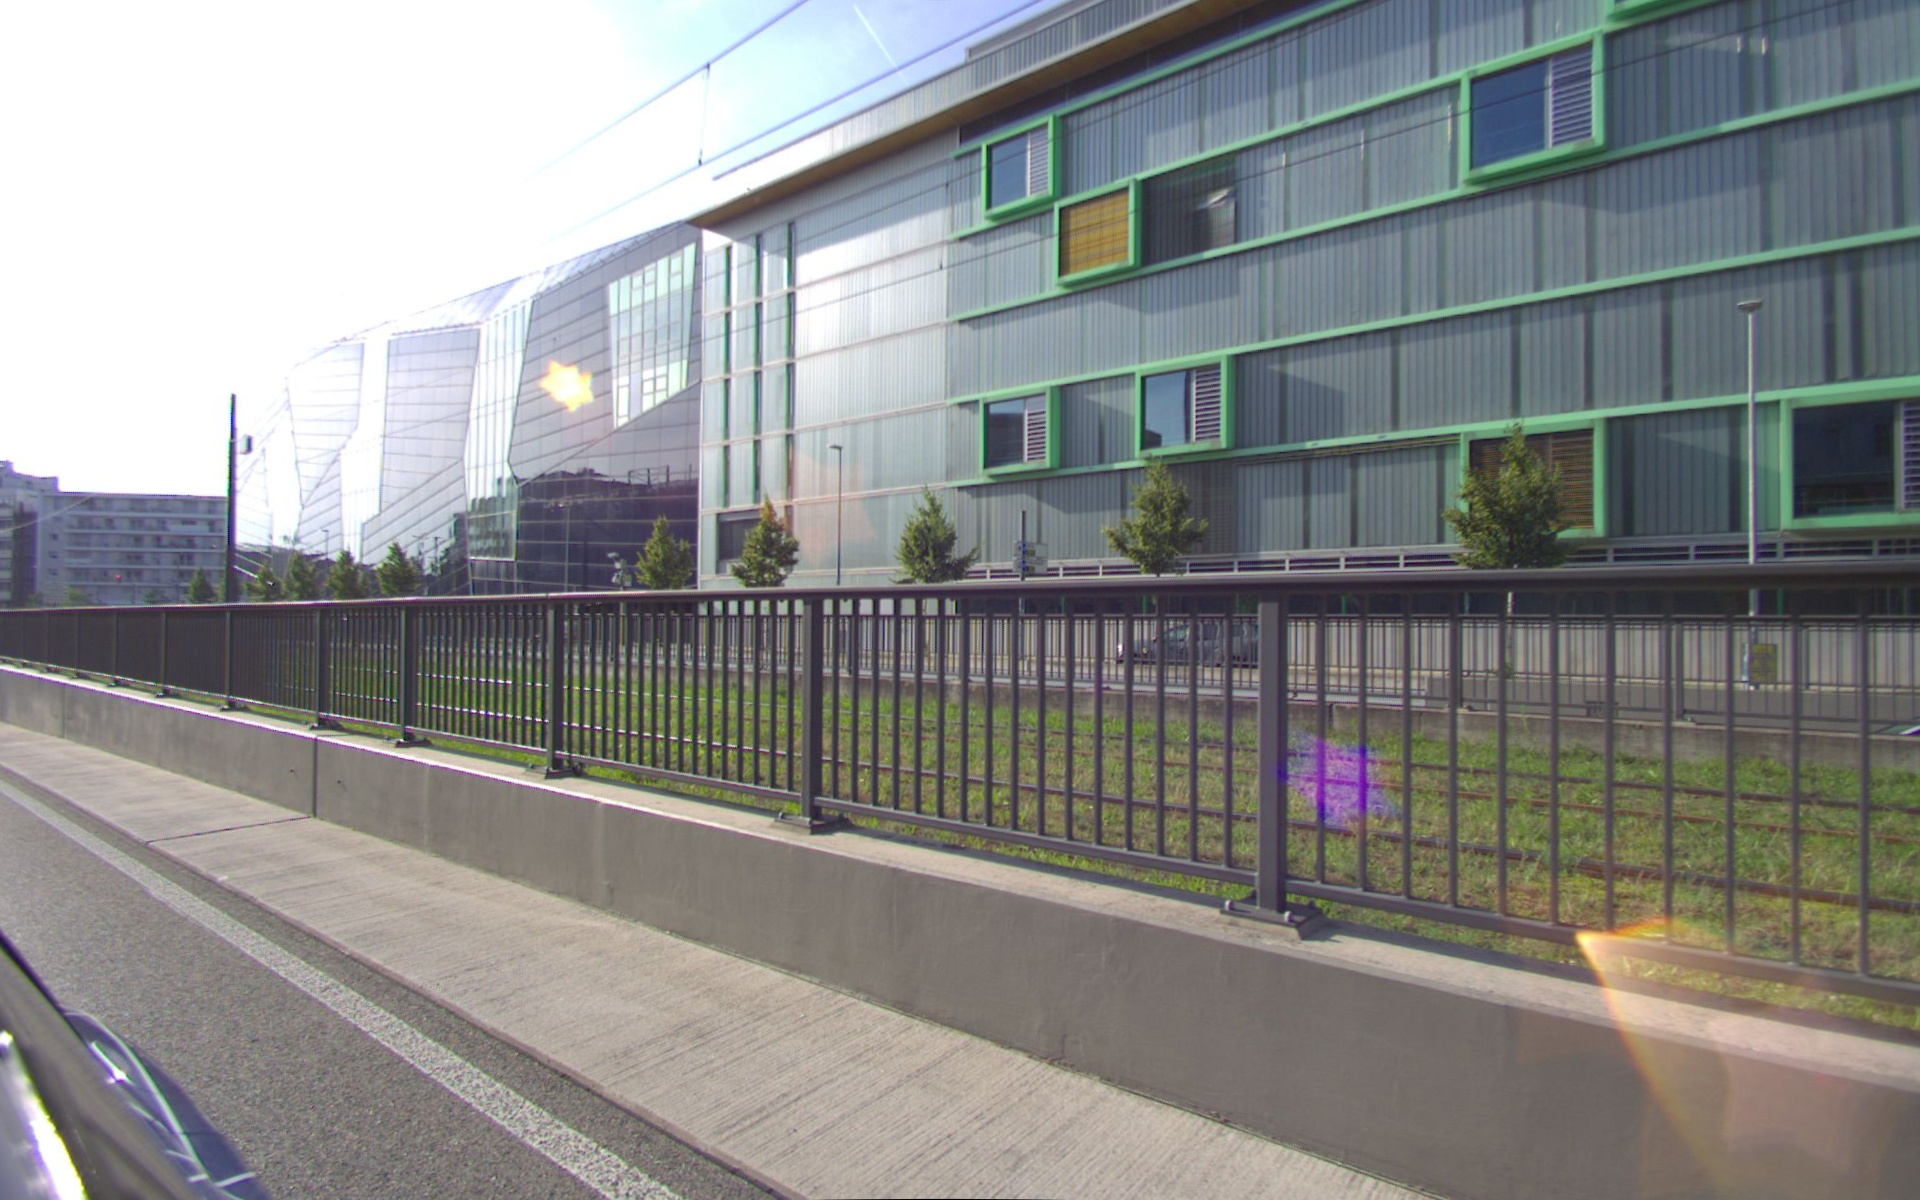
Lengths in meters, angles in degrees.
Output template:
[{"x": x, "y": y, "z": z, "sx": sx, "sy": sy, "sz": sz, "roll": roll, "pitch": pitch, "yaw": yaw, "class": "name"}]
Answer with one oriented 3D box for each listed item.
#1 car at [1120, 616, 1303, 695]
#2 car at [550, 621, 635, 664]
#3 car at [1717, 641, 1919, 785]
[{"x": 6.030, "y": 1.295, "z": 24.491, "sx": 3.932, "sy": 1.762, "sz": 1.723, "roll": -2, "pitch": -2, "yaw": 41, "class": "car"}, {"x": -15.721, "y": 1.797, "z": 43.263, "sx": 3.932, "sy": 1.762, "sz": 1.723, "roll": -2, "pitch": -2, "yaw": 41, "class": "car"}, {"x": 10.561, "y": 1.173, "z": 10.709, "sx": 3.996, "sy": 1.433, "sz": 1.643, "roll": -1, "pitch": -2, "yaw": 40, "class": "car"}]
